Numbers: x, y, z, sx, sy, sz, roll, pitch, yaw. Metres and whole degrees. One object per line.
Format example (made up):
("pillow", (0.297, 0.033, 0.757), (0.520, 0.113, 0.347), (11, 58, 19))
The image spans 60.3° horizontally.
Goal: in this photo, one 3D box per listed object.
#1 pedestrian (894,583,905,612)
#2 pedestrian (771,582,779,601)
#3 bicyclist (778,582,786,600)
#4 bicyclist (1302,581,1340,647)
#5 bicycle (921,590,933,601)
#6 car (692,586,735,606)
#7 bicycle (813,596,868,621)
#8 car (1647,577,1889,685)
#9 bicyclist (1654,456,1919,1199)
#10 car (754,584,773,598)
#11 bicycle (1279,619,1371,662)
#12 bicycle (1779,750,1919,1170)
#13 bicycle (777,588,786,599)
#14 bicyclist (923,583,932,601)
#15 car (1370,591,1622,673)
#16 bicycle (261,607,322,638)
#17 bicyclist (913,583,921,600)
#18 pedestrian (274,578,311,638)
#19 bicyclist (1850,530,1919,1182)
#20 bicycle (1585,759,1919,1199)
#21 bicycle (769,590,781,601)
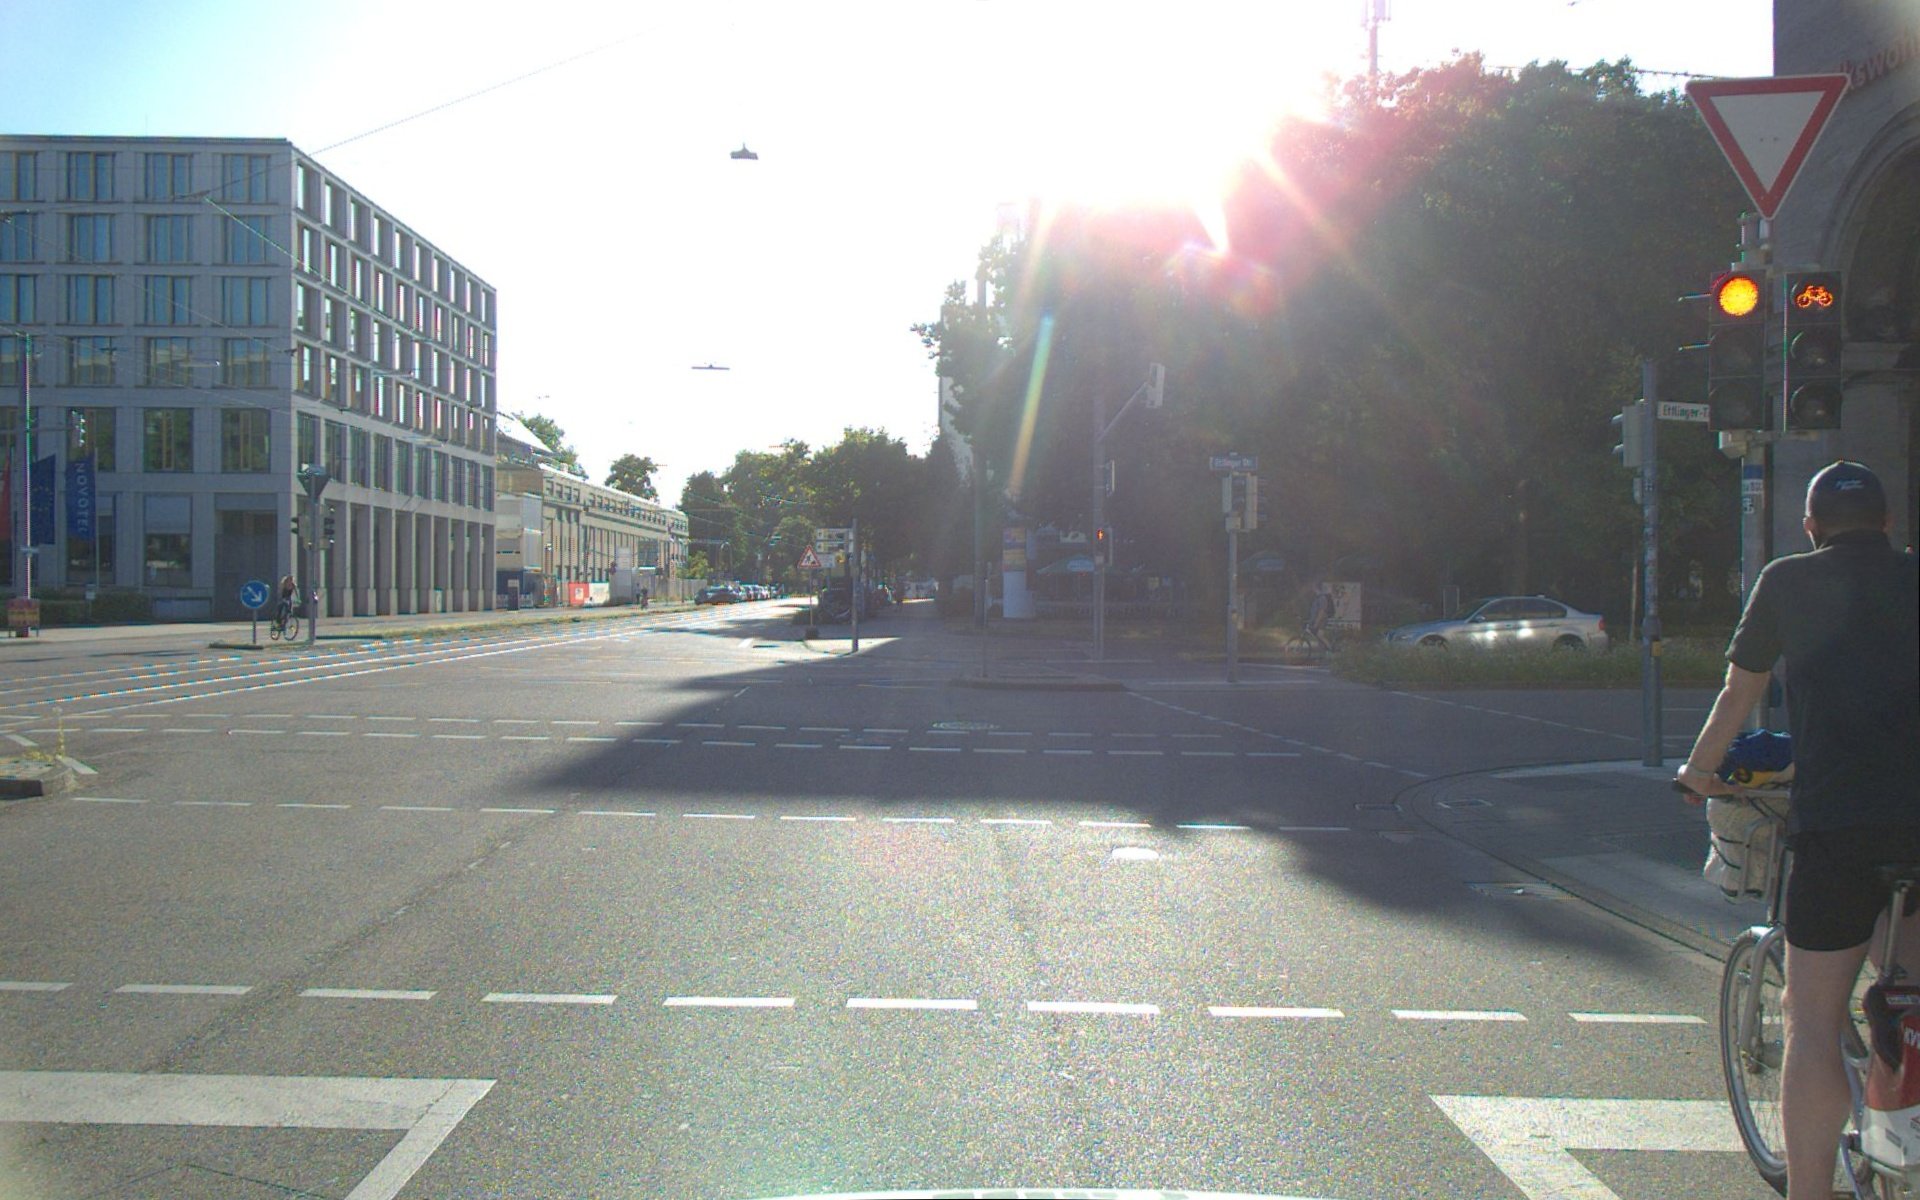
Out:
("pedestrian", (-3.560, -0.148, 97.631), (0.566, 1.719, 0.584), (0, 0, -8))
("pedestrian", (-20.579, -0.967, 184.079), (0.735, 2.099, 1.050), (1, -1, 5))
("bicyclist", (-20.307, -1.042, 188.524), (0.735, 1.953, 1.214), (1, 0, -2))
("bicyclist", (7.957, 0.307, 36.487), (0.731, 1.431, 0.702), (1, -1, 6))
("bicycle", (-3.814, -0.558, 193.052), (0.875, 1.240, 2.785), (1, 0, -12))
("car", (-21.054, -0.340, 141.227), (1.952, 1.627, 4.001), (0, 0, 20))
("bicycle", (-4.839, 0.343, 67.136), (2.201, 0.956, 0.653), (0, 0, -6))
("car", (16.230, 0.613, 33.375), (3.905, 2.049, 2.000), (1, 0, 0))
("bicyclist", (2.143, 0.570, 3.896), (0.610, 1.745, 0.912), (0, 0, -2))
("car", (-23.066, -1.030, 194.349), (1.954, 1.673, 3.997), (0, 0, -4))
("bicycle", (8.036, 0.882, 36.480), (1.902, 0.905, 0.718), (1, 0, 5))
("bicycle", (2.886, 1.014, 4.383), (0.570, 1.062, 1.747), (0, 0, 0))
("bicycle", (-20.322, -0.686, 188.641), (0.735, 1.226, 3.107), (1, 0, -2))
("bicyclist", (-3.748, -0.962, 192.878), (0.875, 2.049, 0.746), (1, -1, -12))
("car", (10.851, 0.632, 33.720), (4.483, 1.543, 2.000), (1, 0, -1))
("bicycle", (-18.133, 0.607, 44.877), (1.679, 0.837, 0.573), (0, 0, 27))
("bicyclist", (-5.022, -0.985, 192.672), (0.875, 2.049, 0.746), (1, -1, -12))
("pedestrian", (-18.099, 0.210, 44.852), (0.727, 1.623, 0.573), (0, 0, 26))
("bicyclist", (2.886, 0.694, 4.348), (0.572, 1.769, 0.950), (0, 0, 0))
("bicycle", (2.140, 0.998, 3.908), (0.610, 1.062, 1.746), (0, 0, -2))
("bicycle", (-20.580, -0.519, 184.009), (0.735, 1.226, 3.109), (1, 0, 5))
